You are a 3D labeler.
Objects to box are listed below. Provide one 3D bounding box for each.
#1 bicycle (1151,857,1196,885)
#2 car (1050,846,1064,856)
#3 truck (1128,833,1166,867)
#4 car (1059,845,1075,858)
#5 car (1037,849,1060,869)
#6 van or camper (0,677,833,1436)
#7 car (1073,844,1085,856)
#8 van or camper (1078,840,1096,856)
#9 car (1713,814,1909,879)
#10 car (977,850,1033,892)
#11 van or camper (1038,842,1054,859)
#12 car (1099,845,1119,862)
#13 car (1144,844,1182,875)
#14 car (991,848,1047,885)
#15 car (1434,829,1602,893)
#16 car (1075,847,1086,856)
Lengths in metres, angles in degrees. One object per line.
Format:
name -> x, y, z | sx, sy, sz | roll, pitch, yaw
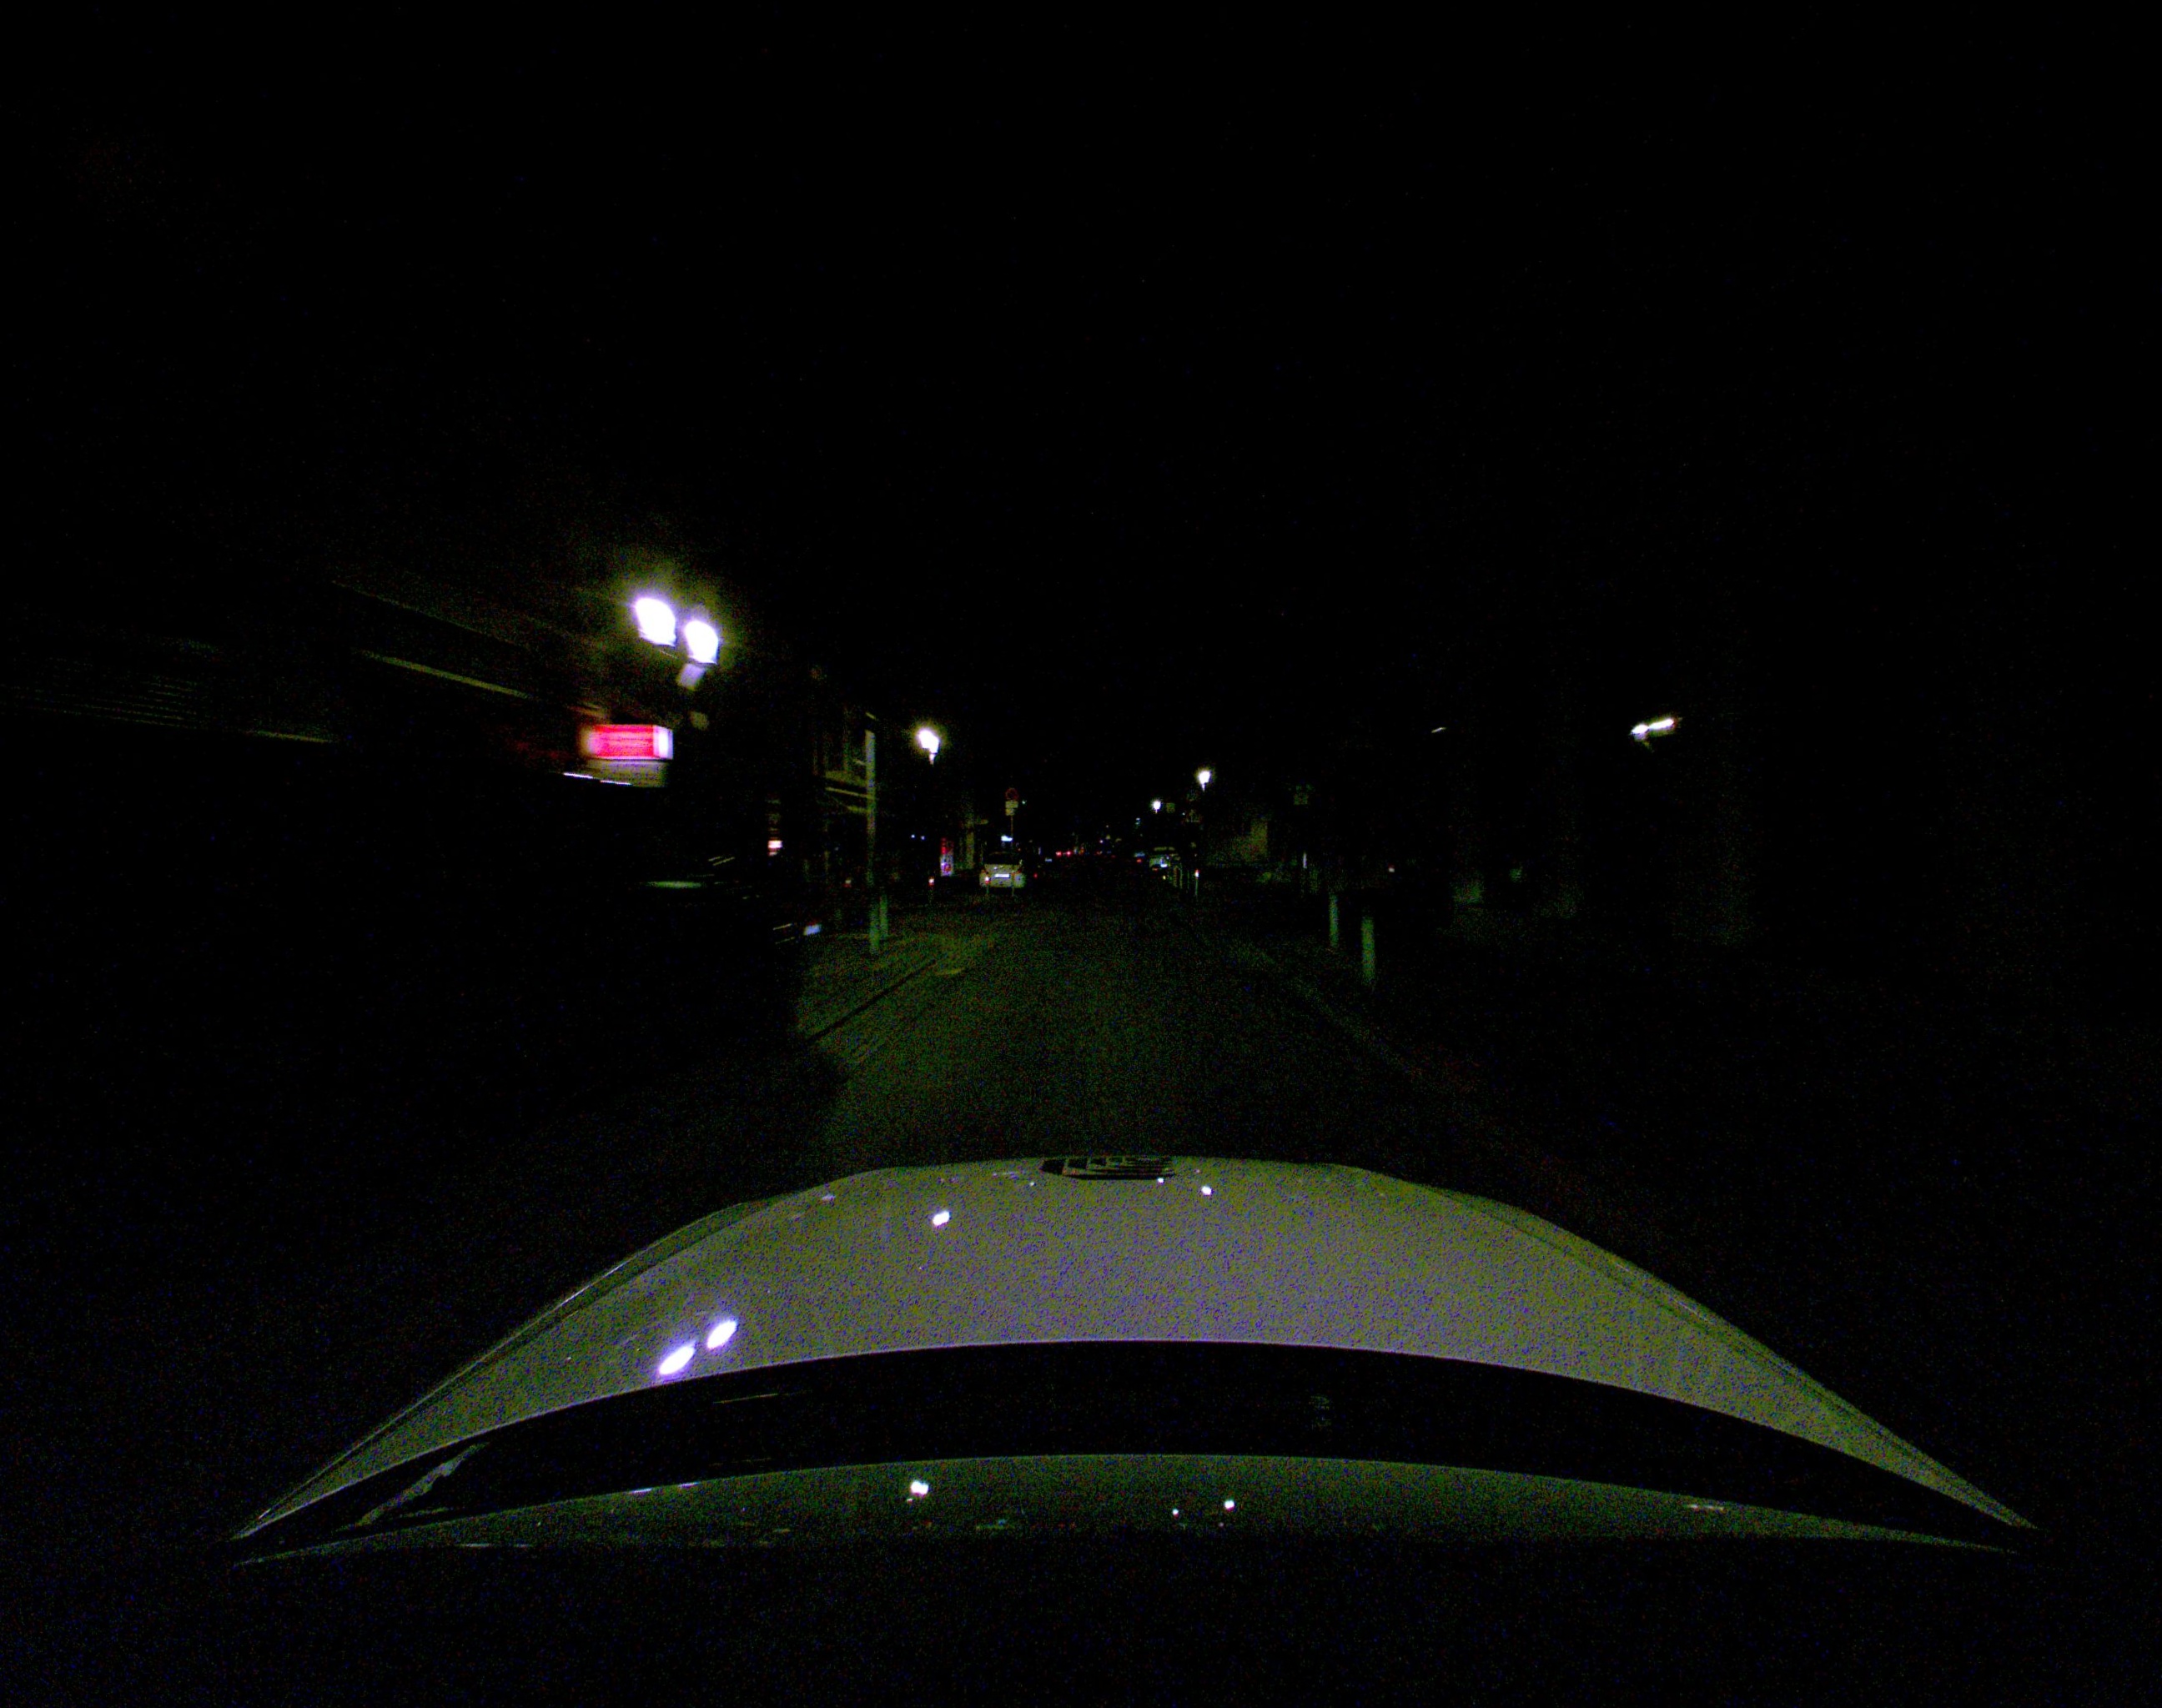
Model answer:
bicycle -> 3.736, 0.680, 32.970 | 1.749, 1.062, 0.346 | -2, 0, -2
car -> -3.981, -0.497, 134.551 | 1.989, 1.702, 3.995 | -1, 0, -4
truck -> 4.810, -0.307, 59.779 | 2.328, 2.312, 5.781 | -2, 0, 1
car -> -2.055, -0.392, 119.912 | 1.990, 1.823, 3.993 | -1, 0, -5
car -> -2.578, 0.346, 64.306 | 1.670, 1.543, 4.223 | 0, 0, -5
van or camper -> -3.390, 0.506, 4.651 | 1.836, 1.942, 5.163 | 0, 0, 7
car -> -0.303, -0.698, 140.417 | 1.836, 1.901, 3.840 | -1, 0, -4
van or camper -> 0.892, -0.897, 121.517 | 2.106, 2.317, 4.254 | -3, 1, -6
car -> 19.946, -0.192, 22.361 | 3.838, 1.588, 1.662 | -2, 0, 1
car -> -2.806, 0.598, 30.855 | 1.723, 1.476, 3.847 | 0, 0, 0
van or camper -> -4.422, -0.429, 102.257 | 1.864, 2.011, 4.254 | 0, 0, -6
car -> 3.201, -0.055, 95.181 | 1.812, 1.828, 4.340 | -2, 0, -5
car -> 4.441, 0.268, 44.523 | 1.782, 1.491, 4.061 | -3, 0, 2
car -> -2.699, 0.522, 36.439 | 2.012, 1.488, 5.008 | 2, 0, 0
car -> 11.802, 0.176, 22.164 | 3.601, 1.442, 1.726 | -4, 0, 1
car -> -0.025, -0.388, 134.386 | 1.528, 1.418, 3.840 | -1, 0, -4
